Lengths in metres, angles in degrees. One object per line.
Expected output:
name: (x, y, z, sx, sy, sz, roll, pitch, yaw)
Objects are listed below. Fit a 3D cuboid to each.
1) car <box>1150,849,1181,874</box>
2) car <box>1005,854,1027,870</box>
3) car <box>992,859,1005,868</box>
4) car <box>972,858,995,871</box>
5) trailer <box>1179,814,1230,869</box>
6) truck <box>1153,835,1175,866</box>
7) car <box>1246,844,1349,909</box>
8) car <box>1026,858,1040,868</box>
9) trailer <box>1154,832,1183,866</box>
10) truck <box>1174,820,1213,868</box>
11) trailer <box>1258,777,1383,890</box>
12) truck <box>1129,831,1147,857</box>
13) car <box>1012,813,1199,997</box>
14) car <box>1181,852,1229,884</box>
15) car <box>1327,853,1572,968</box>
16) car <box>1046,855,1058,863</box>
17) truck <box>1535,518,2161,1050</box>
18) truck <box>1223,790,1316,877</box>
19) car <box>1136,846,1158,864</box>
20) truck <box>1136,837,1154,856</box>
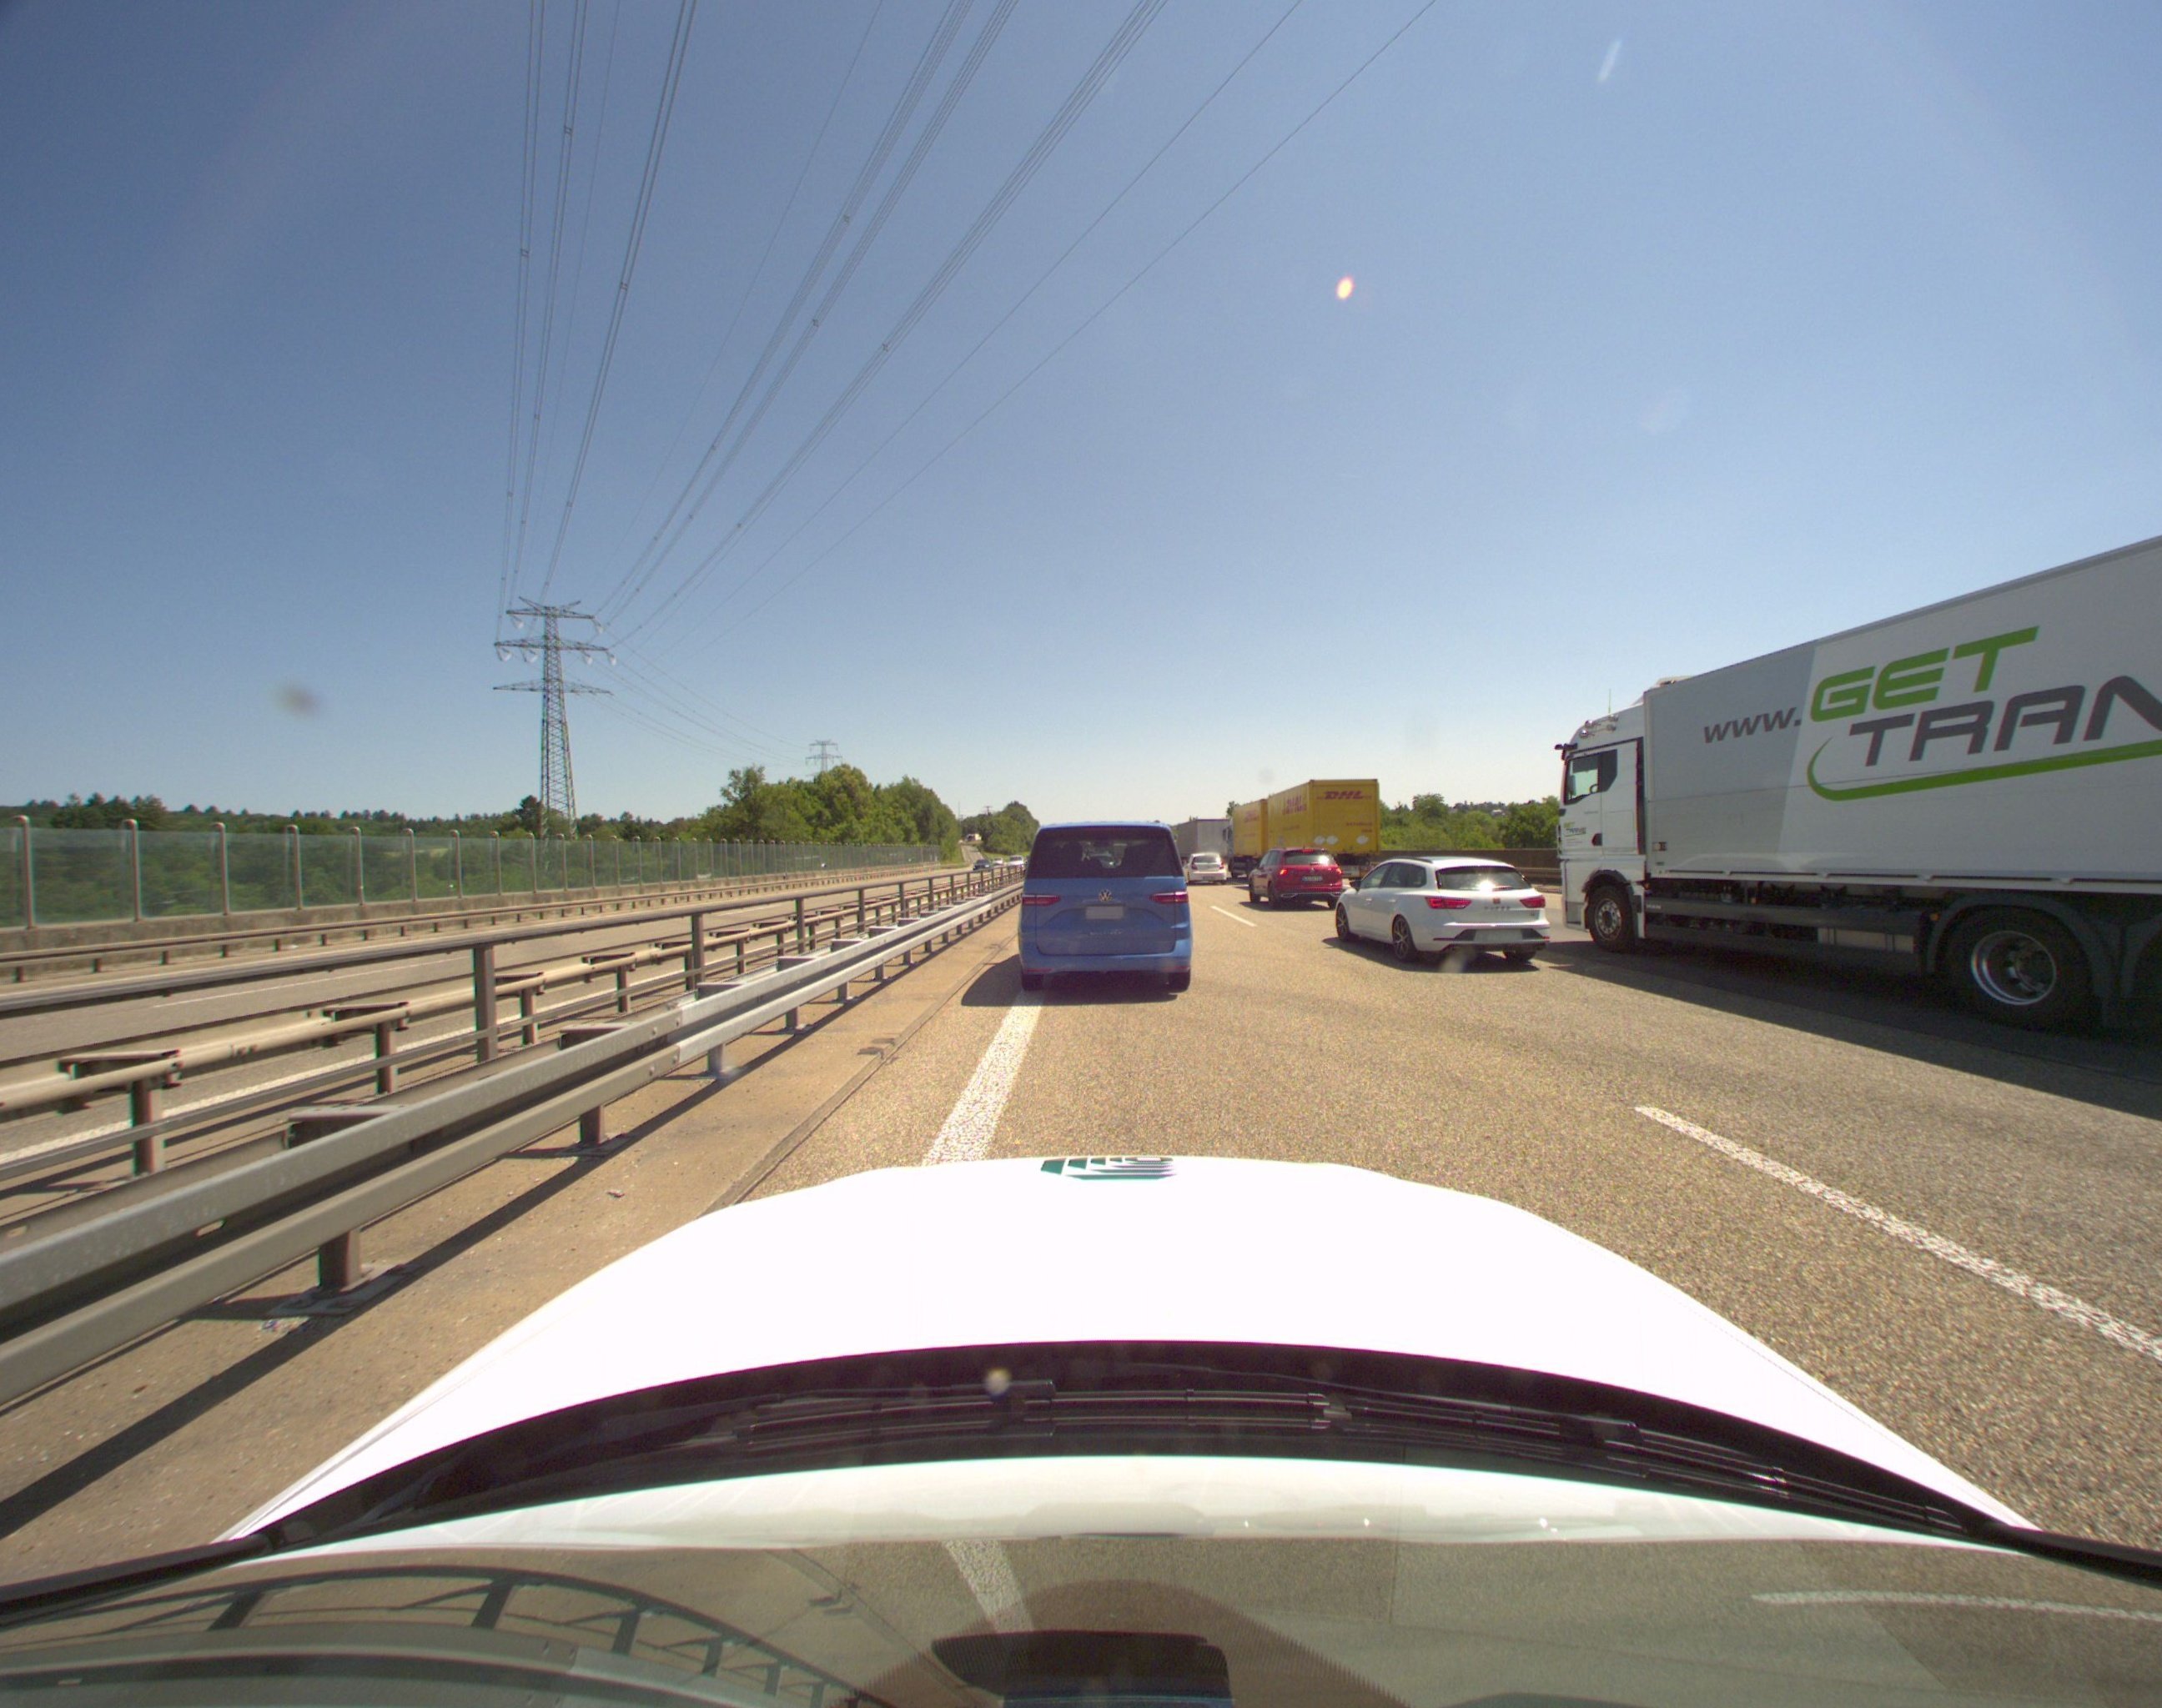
car: (5.577, 0.547, 54.251, 1.709, 1.587, 3.822, -1, -1, 1)
car: (-6.582, 0.790, 82.728, 1.834, 1.529, 3.559, -3, 0, 1)
car: (-13.706, 1.536, 135.253, 1.599, 1.394, 3.677, -3, 0, 1)
car: (-10.385, 1.086, 87.049, 1.794, 1.386, 4.264, 0, -1, 1)
trailer: (9.996, -0.883, 67.022, 2.745, 4.146, 11.314, 0, -1, 1)
truck: (10.486, -0.394, 103.358, 2.359, 3.722, 6.034, 0, -1, 1)
car: (5.863, 0.570, 22.515, 1.844, 1.608, 4.001, -1, 0, 1)
car: (-6.494, 1.176, 110.041, 1.577, 1.298, 3.892, -3, 0, 1)
trailer: (10.359, -0.510, 97.414, 2.371, 3.744, 11.189, 0, -1, 1)
truck: (10.165, -0.841, 73.996, 2.758, 4.095, 6.986, 0, 0, 1)
trailer: (9.561, -0.706, 33.670, 2.692, 4.023, 8.932, 0, -1, 1)
truck: (11.423, -1.959, 164.120, 2.824, 5.040, 11.143, 0, -1, 0)
car: (0.304, 0.519, 10.303, 1.875, 1.837, 4.001, -1, 0, 1)
car: (5.899, 0.656, 39.195, 1.831, 1.414, 4.002, -1, 0, 2)
car: (5.172, 0.698, 12.123, 1.775, 1.387, 4.188, -1, 0, 0)
car: (-5.139, 0.850, 142.610, 1.835, 1.446, 4.420, 0, -1, 1)
truck: (8.772, -0.508, 7.931, 2.841, 3.602, 10.770, 0, 1, 1)
truck: (9.744, -0.896, 43.311, 2.712, 4.054, 10.337, 0, -1, 1)
car: (6.149, 0.073, 76.170, 1.709, 1.540, 3.822, -3, 0, 1)
truck: (11.301, -1.256, 144.533, 2.348, 3.218, 9.738, 0, -1, 0)
